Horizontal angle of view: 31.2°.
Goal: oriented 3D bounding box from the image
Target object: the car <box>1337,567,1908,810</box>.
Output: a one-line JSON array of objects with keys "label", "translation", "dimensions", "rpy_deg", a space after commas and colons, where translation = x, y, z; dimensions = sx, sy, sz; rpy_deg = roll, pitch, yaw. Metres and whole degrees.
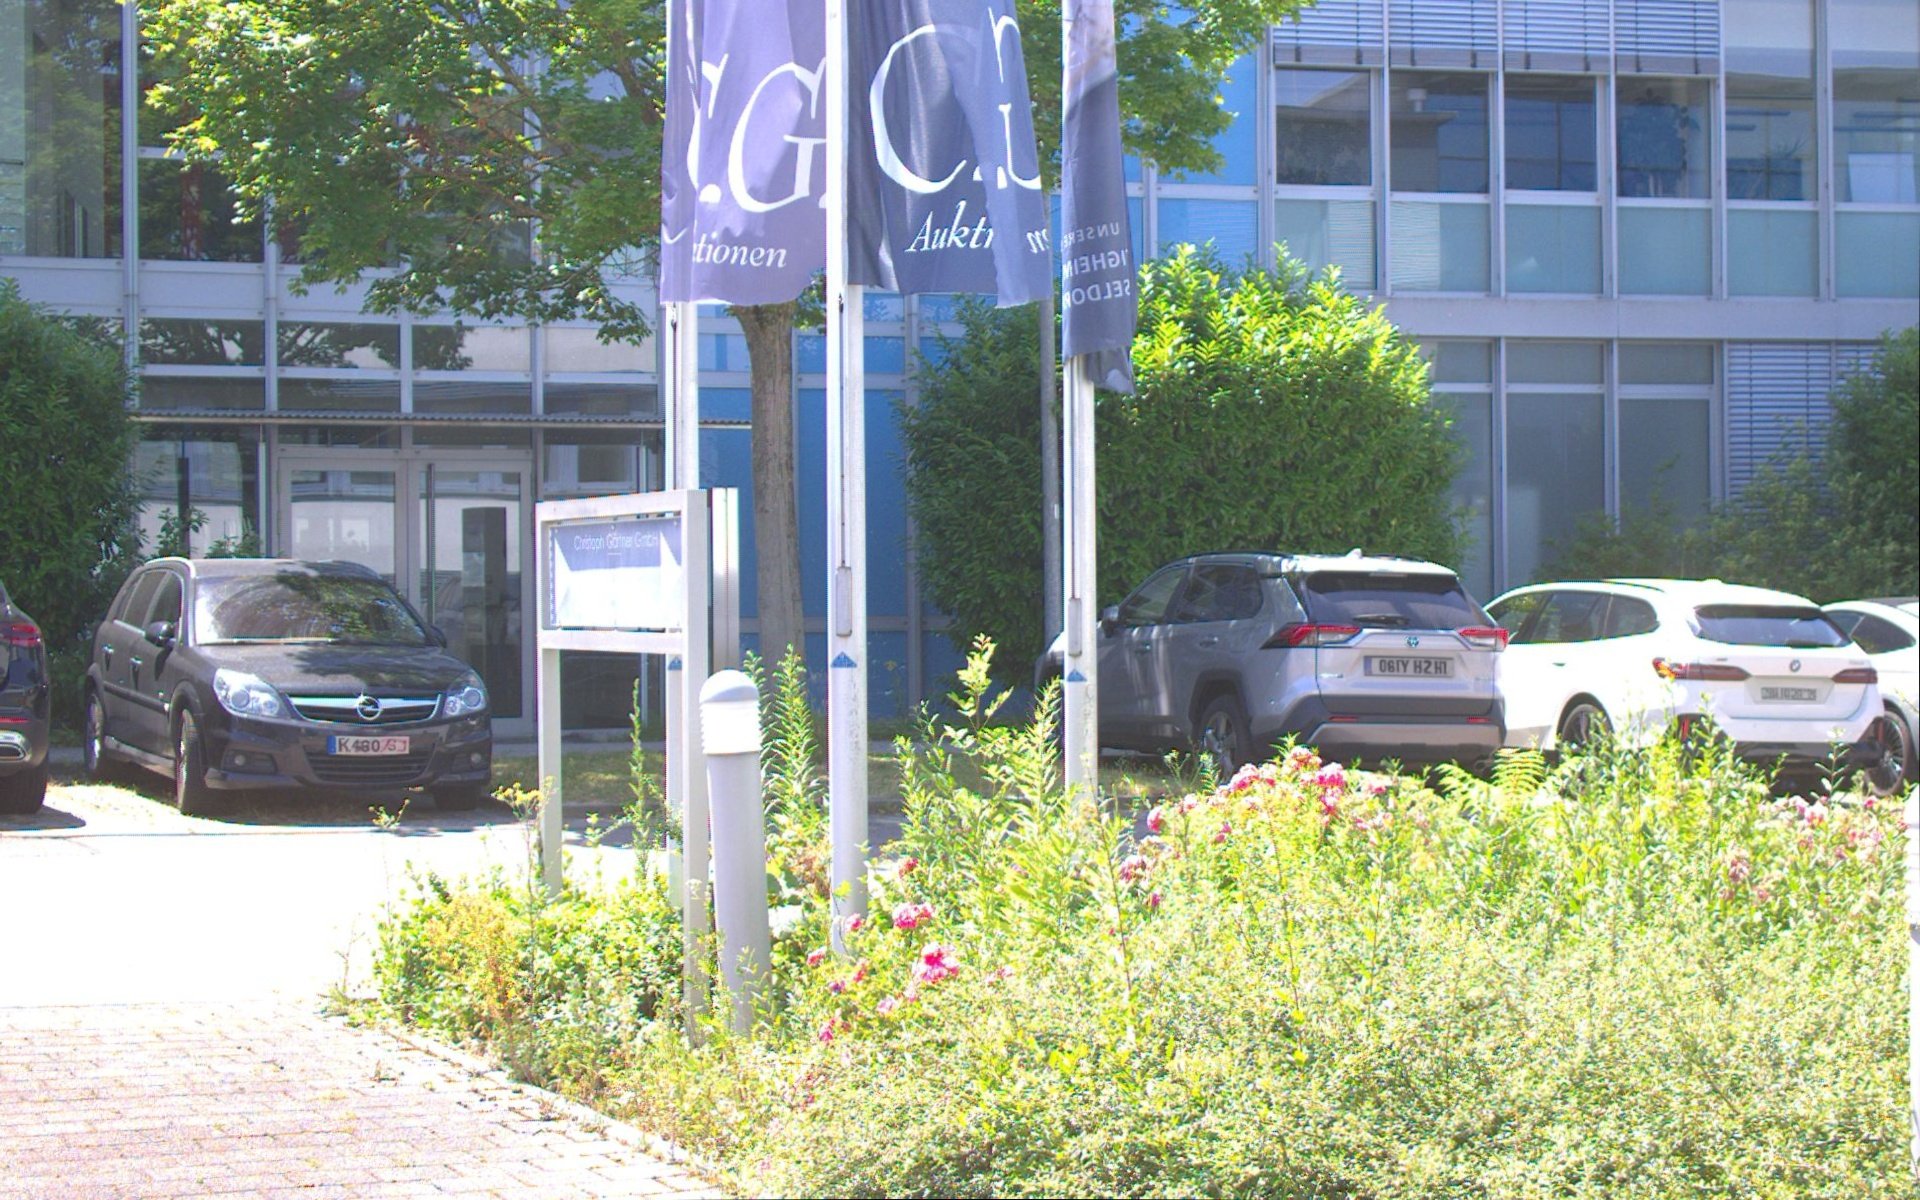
[{"label": "car", "translation": [4.578, 0.567, 24.447], "dimensions": [1.735, 1.486, 4.340], "rpy_deg": [1, 1, -25]}]

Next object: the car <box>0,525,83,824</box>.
[{"label": "car", "translation": [-6.497, 0.344, 20.089], "dimensions": [1.926, 1.605, 3.987], "rpy_deg": [1, 1, -25]}]

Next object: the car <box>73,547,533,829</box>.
[{"label": "car", "translation": [-4.115, 0.450, 20.982], "dimensions": [1.769, 1.477, 4.259], "rpy_deg": [0, 1, -25]}]

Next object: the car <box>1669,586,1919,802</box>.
[{"label": "car", "translation": [7.077, 0.674, 25.490], "dimensions": [1.735, 1.425, 4.341], "rpy_deg": [2, 1, -15]}]

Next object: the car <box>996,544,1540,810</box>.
[{"label": "car", "translation": [2.014, 0.452, 23.873], "dimensions": [1.819, 1.614, 4.340], "rpy_deg": [0, 1, -25]}]
